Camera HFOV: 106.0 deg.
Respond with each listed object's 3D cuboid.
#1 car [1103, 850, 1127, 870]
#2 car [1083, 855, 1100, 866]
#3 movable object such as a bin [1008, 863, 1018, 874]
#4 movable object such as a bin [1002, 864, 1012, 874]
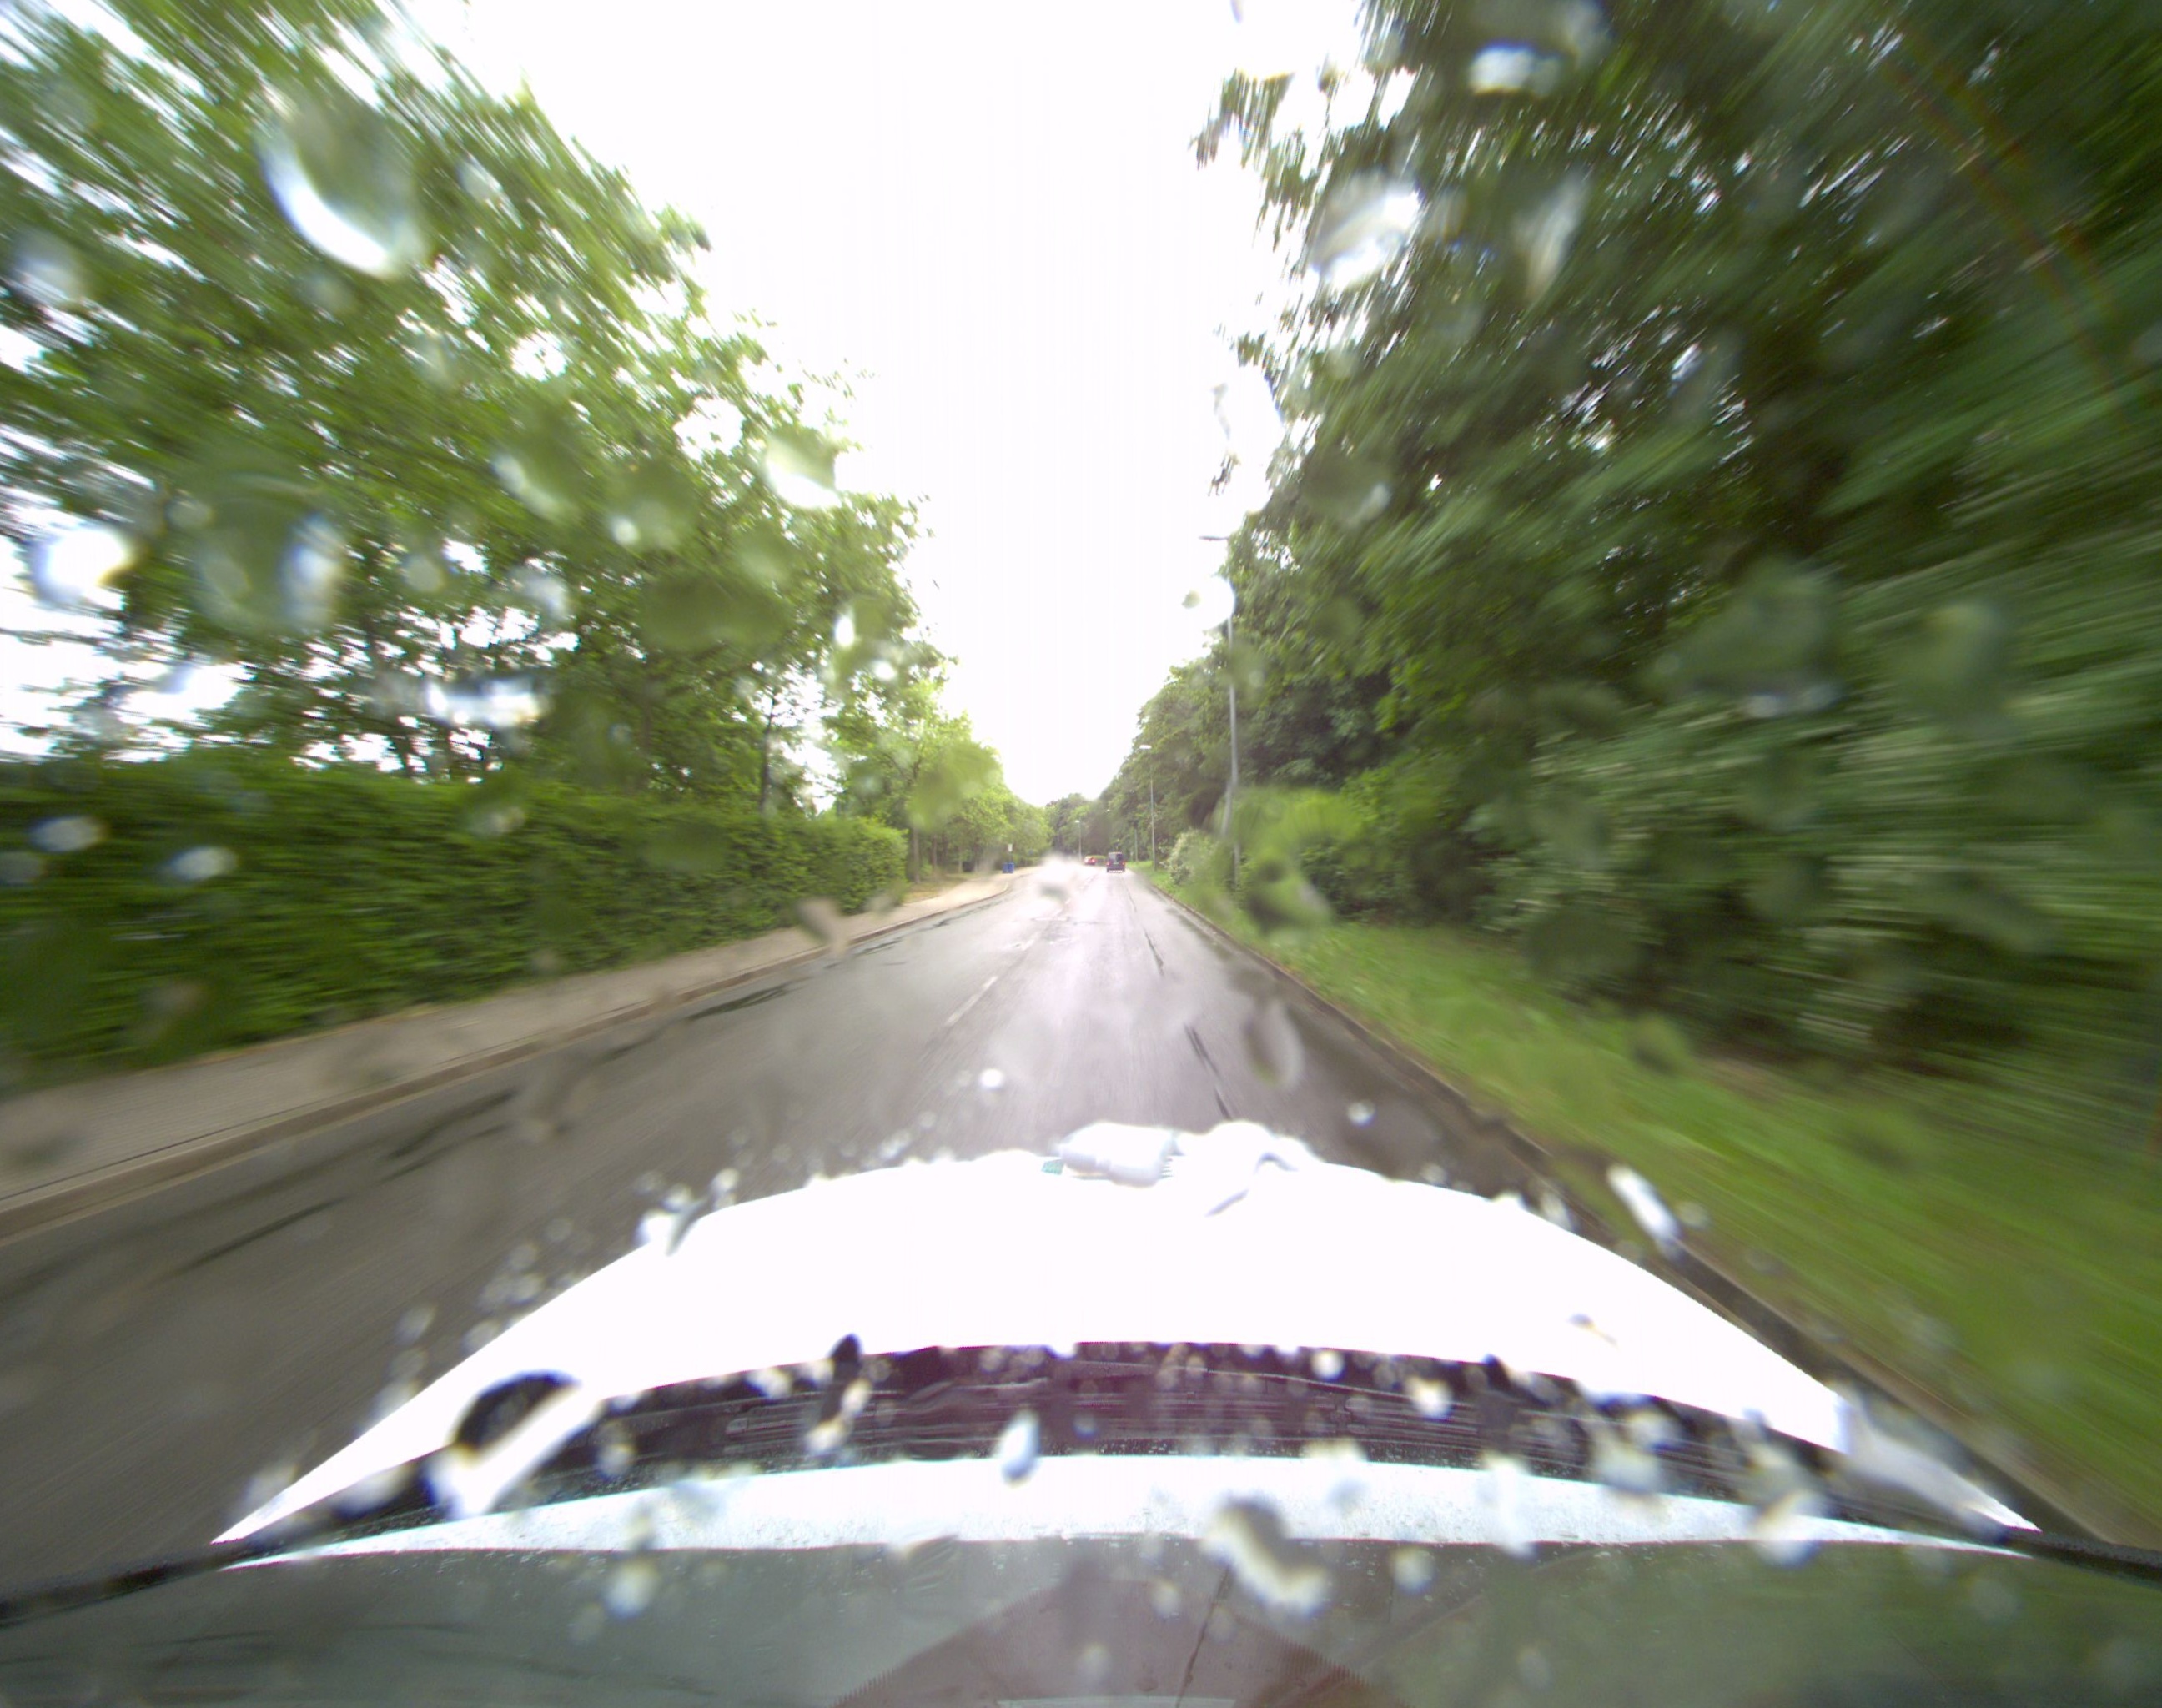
[{"bbox_3d":[3.224,0.553,77.314,1.988,1.793,3.998,1,1,-2],"label":"car"},{"bbox_3d":[1.729,1.086,139.736,1.996,1.772,3.982,-2,0,-13],"label":"car"},{"bbox_3d":[-7.257,1.553,87.062,0.670,1.026,0.827,-4,0,-30],"label":"movable object such as a bin"},{"bbox_3d":[-7.890,1.583,86.723,0.670,1.026,0.827,-4,0,-30],"label":"movable object such as a bin"}]
